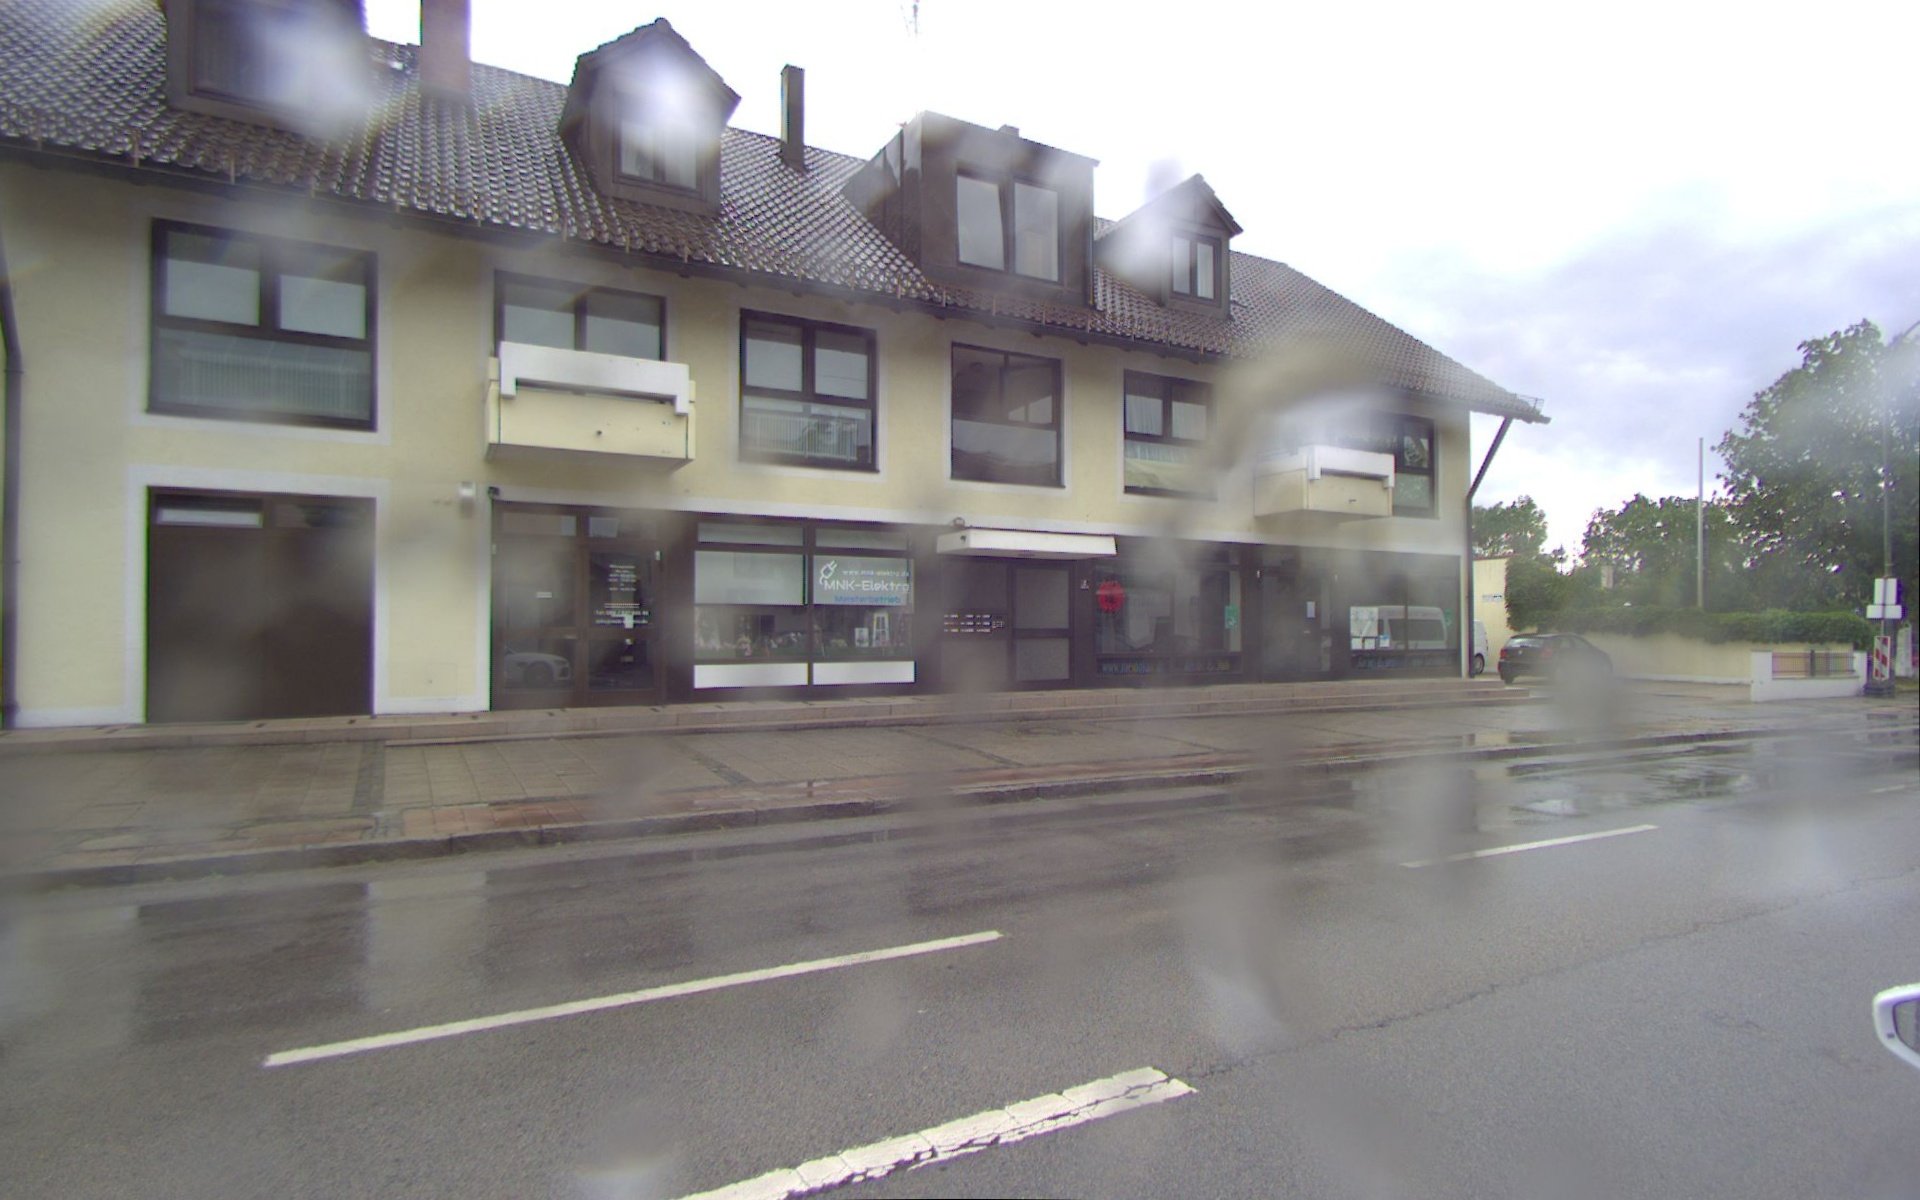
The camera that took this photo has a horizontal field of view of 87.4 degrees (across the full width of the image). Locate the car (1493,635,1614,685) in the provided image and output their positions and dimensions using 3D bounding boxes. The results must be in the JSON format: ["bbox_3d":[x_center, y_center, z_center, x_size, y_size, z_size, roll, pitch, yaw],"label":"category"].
[{"bbox_3d":[17.532,1.740,29.637,3.468,1.398,1.599,2,-3,-31],"label":"car"}]

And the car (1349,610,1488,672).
[{"bbox_3d":[15.441,1.392,33.780,4.682,1.944,1.955,2,-3,-31],"label":"car"}]
